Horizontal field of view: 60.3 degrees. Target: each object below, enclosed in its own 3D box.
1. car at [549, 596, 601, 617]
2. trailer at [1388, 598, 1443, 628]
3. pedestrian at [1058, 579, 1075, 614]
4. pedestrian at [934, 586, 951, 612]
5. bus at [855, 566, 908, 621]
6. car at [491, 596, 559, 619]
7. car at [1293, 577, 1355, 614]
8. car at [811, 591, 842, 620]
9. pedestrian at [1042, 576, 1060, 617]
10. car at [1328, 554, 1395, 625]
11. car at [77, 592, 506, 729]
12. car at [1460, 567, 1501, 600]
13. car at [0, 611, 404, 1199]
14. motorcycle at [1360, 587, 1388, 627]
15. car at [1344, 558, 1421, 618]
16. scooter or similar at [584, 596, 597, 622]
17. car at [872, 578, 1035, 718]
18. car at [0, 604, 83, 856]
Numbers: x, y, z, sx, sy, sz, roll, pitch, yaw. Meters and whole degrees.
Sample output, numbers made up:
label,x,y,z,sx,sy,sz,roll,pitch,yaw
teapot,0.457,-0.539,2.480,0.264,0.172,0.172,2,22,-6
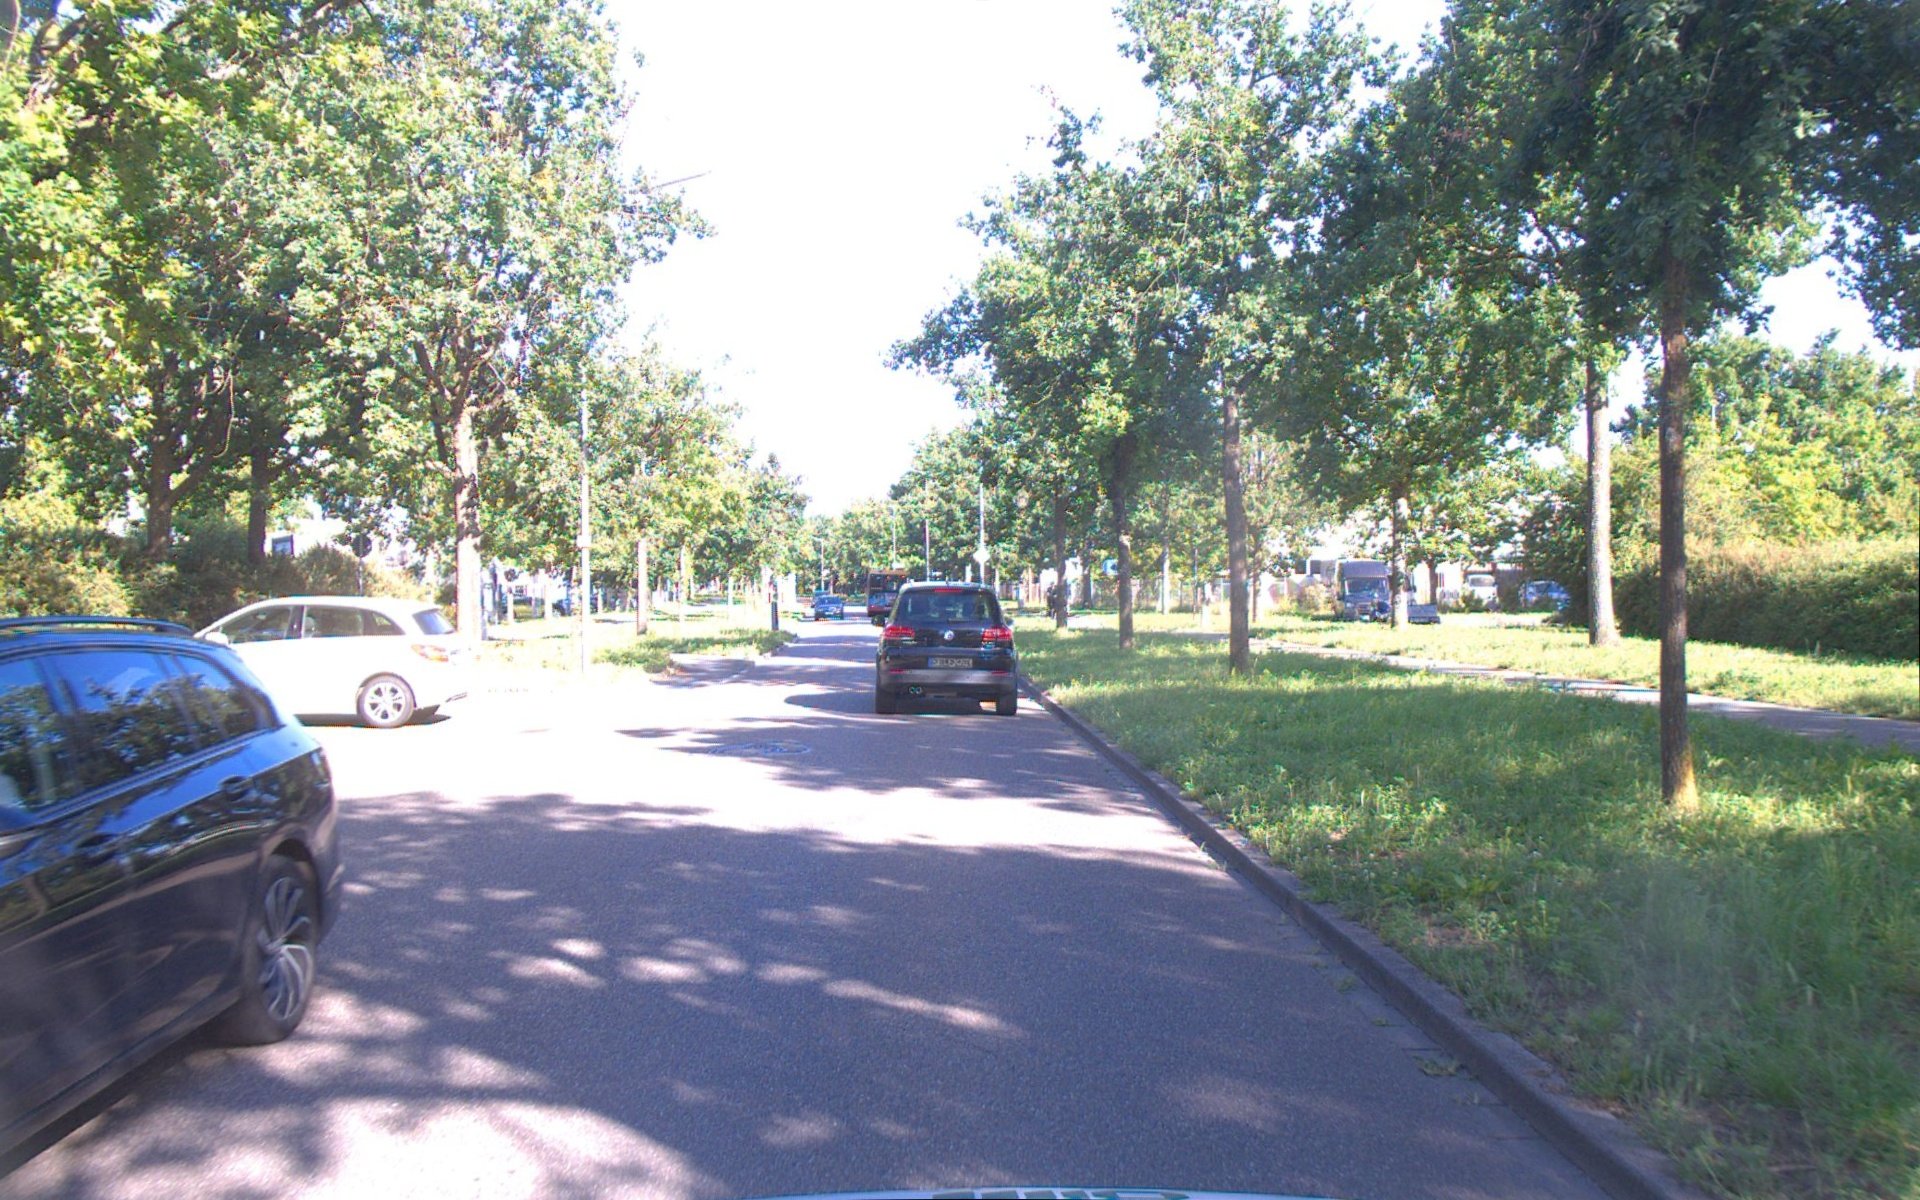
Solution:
label,x,y,z,sx,sy,sz,roll,pitch,yaw
car,-31.667,0.548,136.059,3.662,1.646,1.965,-1,0,11
trailer,15.343,0.459,55.798,1.545,0.883,2.055,-1,-4,8
pedestrian,5.507,-0.197,85.692,0.711,1.785,0.867,-3,0,-4
pedestrian,-1.167,-0.082,108.028,0.999,1.680,1.098,-1,0,-4
bus,-5.431,-0.459,112.686,2.712,3.517,11.193,-1,1,-7
car,-28.883,0.460,109.923,1.966,1.426,3.927,-1,1,44
car,17.437,-0.210,79.407,1.966,1.693,3.594,-1,0,-4
car,-8.011,0.312,99.412,1.731,1.555,4.492,-2,1,-4
pedestrian,4.246,-0.162,76.960,0.711,1.843,0.867,-1,3,-4
car,16.489,-0.495,68.119,2.040,2.610,5.979,1,3,8
car,-8.223,0.726,20.774,4.537,1.585,2.189,1,1,-6
car,27.721,-0.899,88.155,1.796,1.668,4.003,-1,0,13
car,-3.055,0.812,4.468,1.650,1.426,4.426,-2,1,-1
motorcycle,14.432,0.267,57.687,0.648,1.253,2.407,-1,-4,8
car,20.035,-0.569,78.555,2.118,2.689,4.847,-1,0,-4
scooter or similar,-19.014,0.452,85.193,0.387,1.301,1.440,-1,0,-3
car,-0.191,0.552,22.266,1.898,1.685,4.423,1,1,-4
car,-8.079,0.792,10.076,4.324,1.537,2.087,1,1,-3
